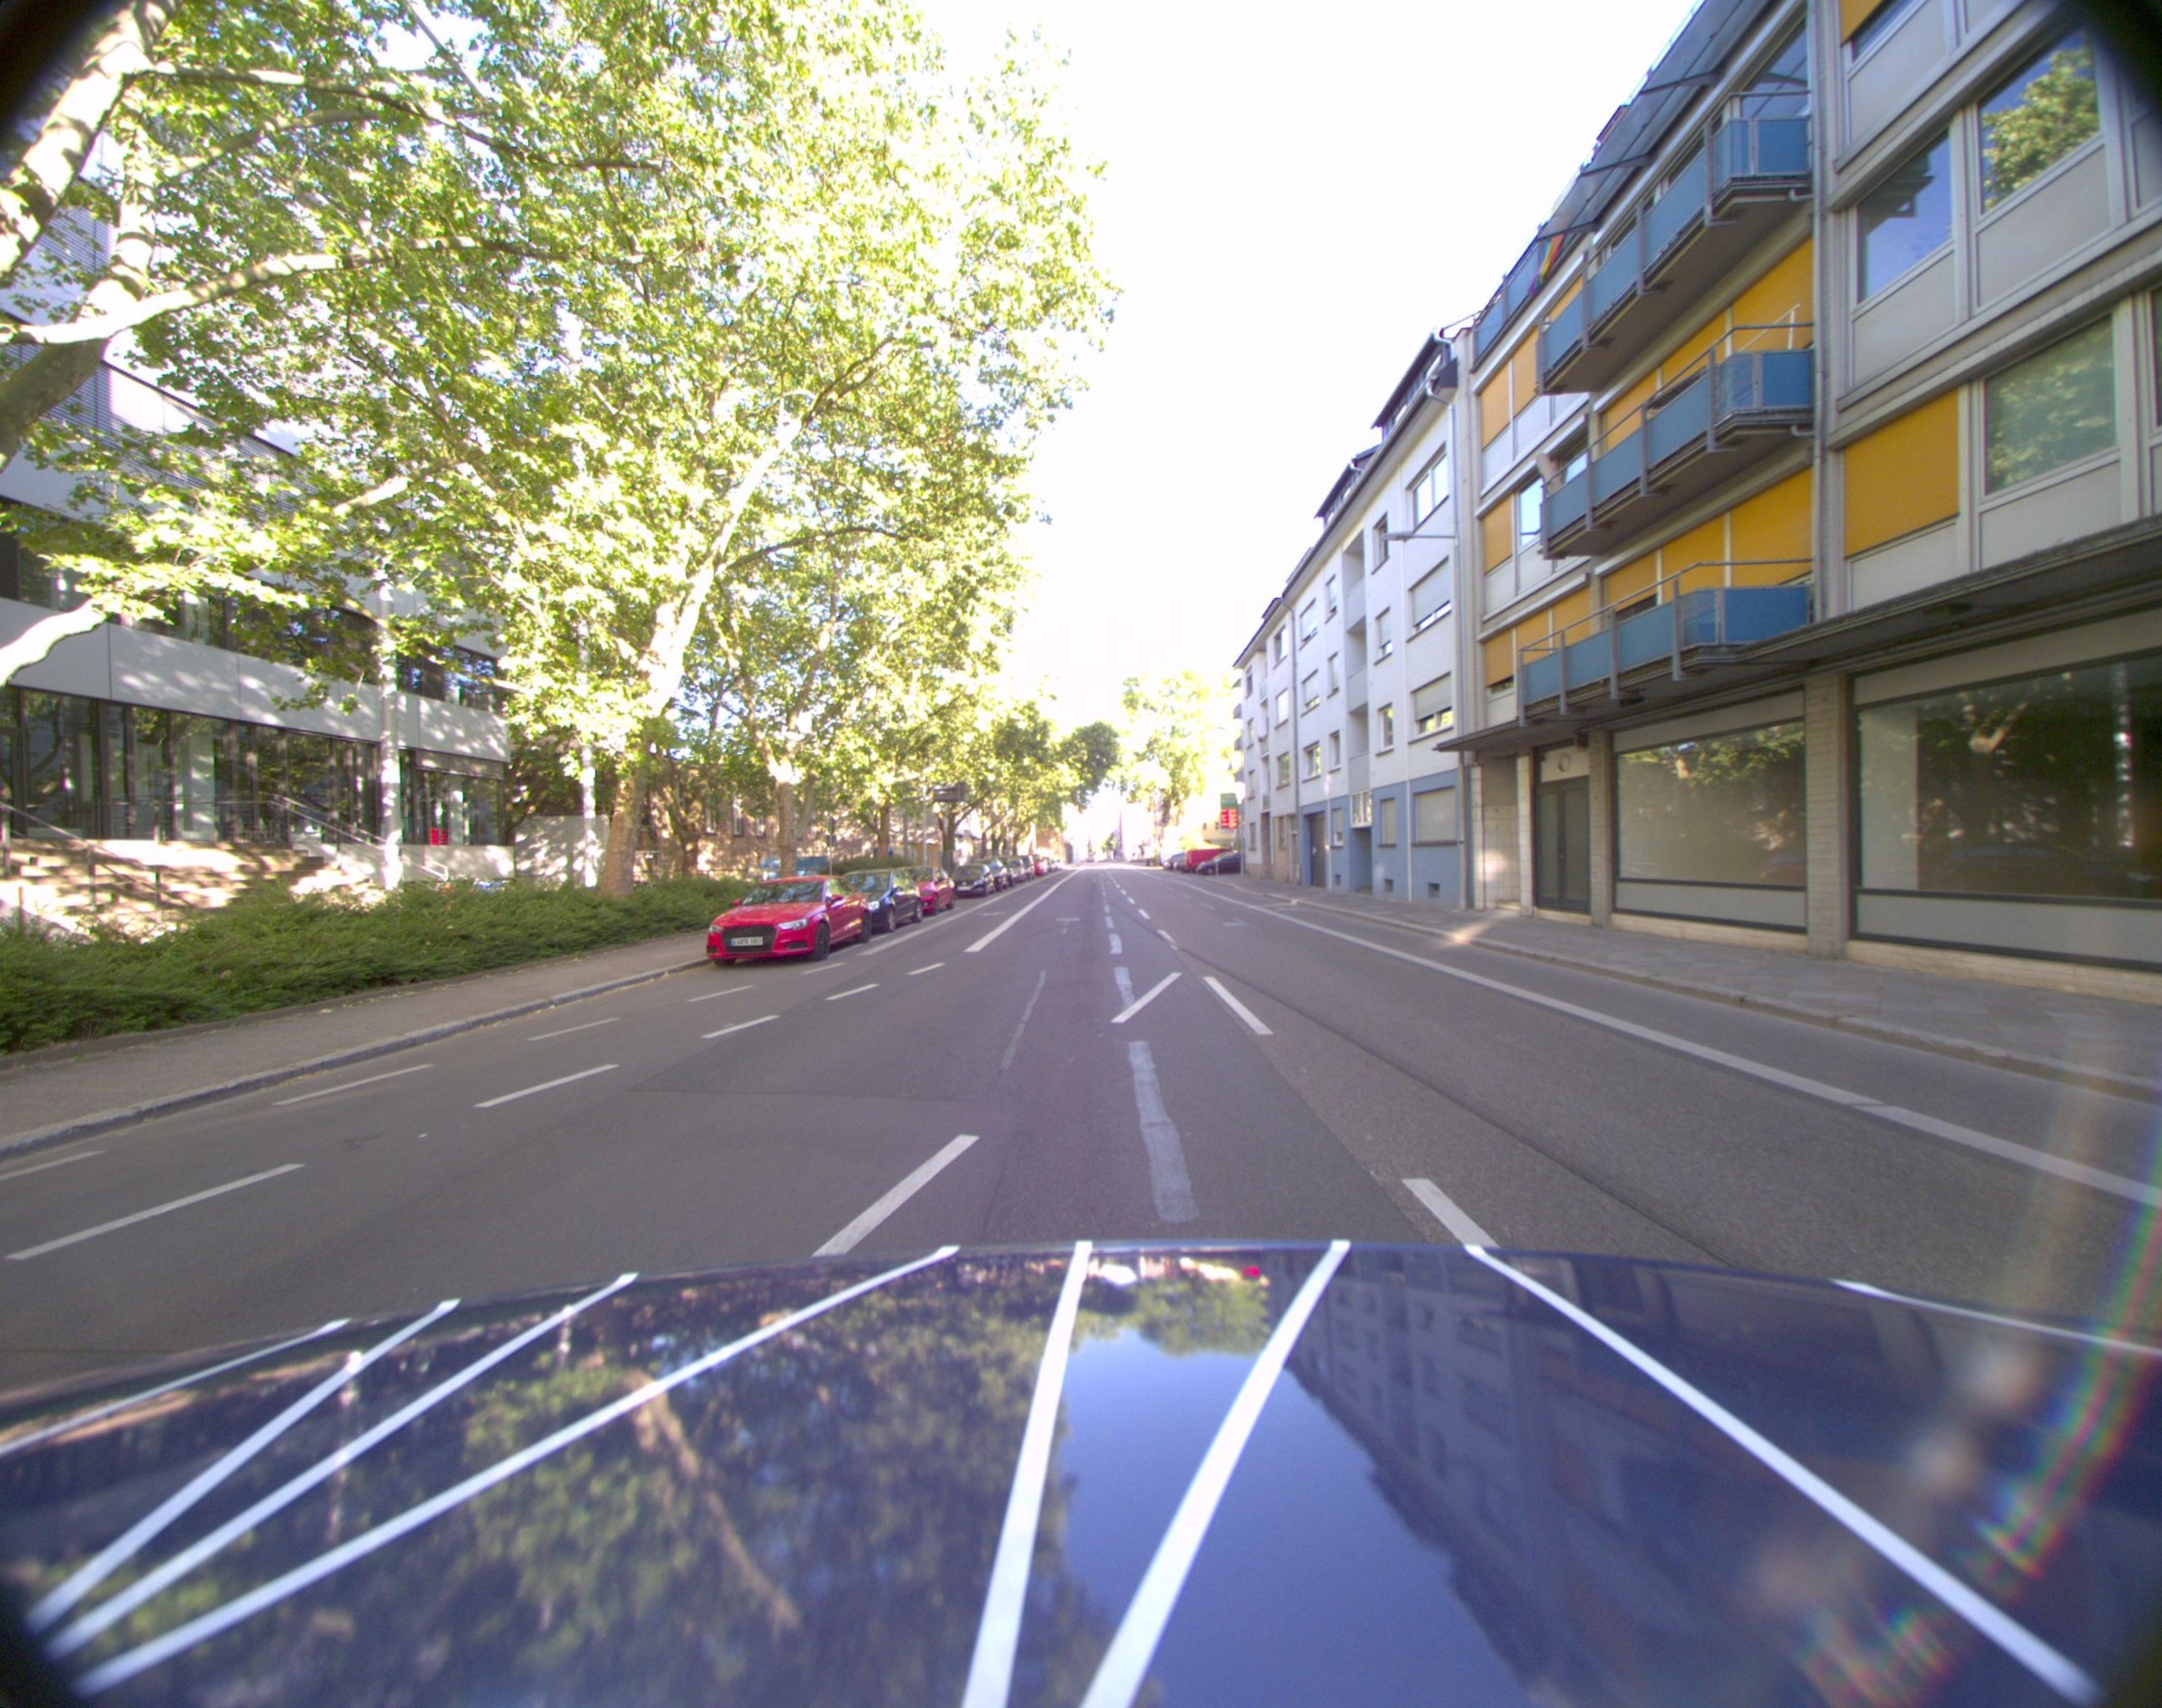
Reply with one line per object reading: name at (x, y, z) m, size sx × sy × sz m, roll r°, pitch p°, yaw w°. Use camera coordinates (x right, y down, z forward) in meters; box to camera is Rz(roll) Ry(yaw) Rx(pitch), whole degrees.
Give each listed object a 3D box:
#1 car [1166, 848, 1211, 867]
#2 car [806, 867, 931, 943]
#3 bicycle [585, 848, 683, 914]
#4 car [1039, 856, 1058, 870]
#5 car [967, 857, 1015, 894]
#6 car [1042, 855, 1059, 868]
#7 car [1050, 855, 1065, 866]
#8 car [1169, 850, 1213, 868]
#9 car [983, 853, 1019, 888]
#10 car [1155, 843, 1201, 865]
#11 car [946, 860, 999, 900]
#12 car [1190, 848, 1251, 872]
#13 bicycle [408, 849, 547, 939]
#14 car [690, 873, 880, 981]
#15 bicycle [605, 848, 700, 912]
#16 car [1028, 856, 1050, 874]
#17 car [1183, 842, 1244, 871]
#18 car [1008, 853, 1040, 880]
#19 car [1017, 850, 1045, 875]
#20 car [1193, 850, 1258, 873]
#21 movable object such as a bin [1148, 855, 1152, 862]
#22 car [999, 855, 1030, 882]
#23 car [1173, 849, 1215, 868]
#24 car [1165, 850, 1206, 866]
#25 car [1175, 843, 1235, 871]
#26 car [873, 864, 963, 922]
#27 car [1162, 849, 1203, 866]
car at (10.756, 0.298, 76.142) m, size 4.204 × 1.674 × 2.028 m, roll -3°, pitch 0°, yaw 1°
car at (-5.037, 1.152, 18.591) m, size 1.697 × 1.458 × 4.066 m, roll -4°, pitch 0°, yaw 2°
bicycle at (-14.001, 0.840, 23.848) m, size 2.604 × 2.002 × 0.742 m, roll -1°, pitch 1°, yaw 1°
car at (-3.629, 1.000, 86.524) m, size 1.860 × 1.513 × 4.599 m, roll -3°, pitch 0°, yaw 0°
car at (-4.476, 1.008, 38.354) m, size 1.780 × 1.618 × 4.620 m, roll -4°, pitch 0°, yaw 0°
car at (-3.682, 0.921, 92.933) m, size 1.860 × 1.514 × 4.297 m, roll -3°, pitch 0°, yaw 0°
car at (-3.207, 0.842, 103.254) m, size 1.860 × 1.428 × 4.969 m, roll -2°, pitch 0°, yaw -2°
car at (10.578, 0.468, 73.197) m, size 3.997 × 1.447 × 1.916 m, roll -3°, pitch 0°, yaw 1°
car at (-4.674, 0.903, 44.090) m, size 1.830 × 1.830 × 4.896 m, roll -4°, pitch 0°, yaw -7°
car at (10.872, 0.009, 85.359) m, size 4.856 × 2.204 × 2.140 m, roll -3°, pitch 0°, yaw 1°
car at (-4.683, 1.091, 33.279) m, size 1.697 × 1.495 × 4.019 m, roll -4°, pitch 0°, yaw -1°
car at (10.473, 0.442, 57.157) m, size 4.183 × 1.554 × 1.886 m, roll -4°, pitch 0°, yaw 1°
bicycle at (-14.006, 0.906, 17.675) m, size 2.604 × 2.002 × 0.742 m, roll -1°, pitch 1°, yaw 1°
car at (-5.119, 1.174, 13.843) m, size 1.697 × 1.441 × 4.435 m, roll -4°, pitch 0°, yaw -1°
bicycle at (-13.950, 0.828, 24.777) m, size 2.604 × 2.002 × 0.742 m, roll -1°, pitch 1°, yaw 1°
car at (-3.916, 1.028, 71.634) m, size 1.641 × 1.476 × 3.760 m, roll -4°, pitch 0°, yaw 3°
car at (10.445, 0.207, 60.143) m, size 4.432 × 1.940 × 2.146 m, roll -4°, pitch 0°, yaw 1°
car at (-4.124, 0.857, 55.418) m, size 1.697 × 1.802 × 4.130 m, roll -4°, pitch 0°, yaw 3°
car at (-4.341, 0.704, 66.679) m, size 2.083 × 1.982 × 5.171 m, roll -3°, pitch 0°, yaw -1°
car at (10.402, 0.555, 54.907) m, size 4.239 × 1.372 × 2.046 m, roll -3°, pitch 1°, yaw 1°
movable object such as a bin at (10.491, 0.719, 115.382) m, size 0.595 × 1.065 × 0.644 m, roll -1°, pitch 1°, yaw 1°
car at (-4.393, 0.956, 50.883) m, size 1.697 × 1.618 × 4.329 m, roll -4°, pitch 0°, yaw -1°
car at (10.544, 0.396, 71.082) m, size 3.694 × 1.504 × 1.831 m, roll -4°, pitch 0°, yaw 1°
car at (10.815, 0.419, 78.676) m, size 3.997 × 1.424 × 1.853 m, roll -3°, pitch 0°, yaw 1°
car at (10.207, 0.234, 62.857) m, size 4.533 × 1.940 × 2.057 m, roll -4°, pitch 0°, yaw 1°
car at (-4.975, 1.152, 23.738) m, size 1.697 × 1.470 × 4.318 m, roll -4°, pitch 0°, yaw 1°
car at (10.764, 0.358, 80.803) m, size 3.997 × 1.550 × 1.853 m, roll -3°, pitch 0°, yaw 1°
